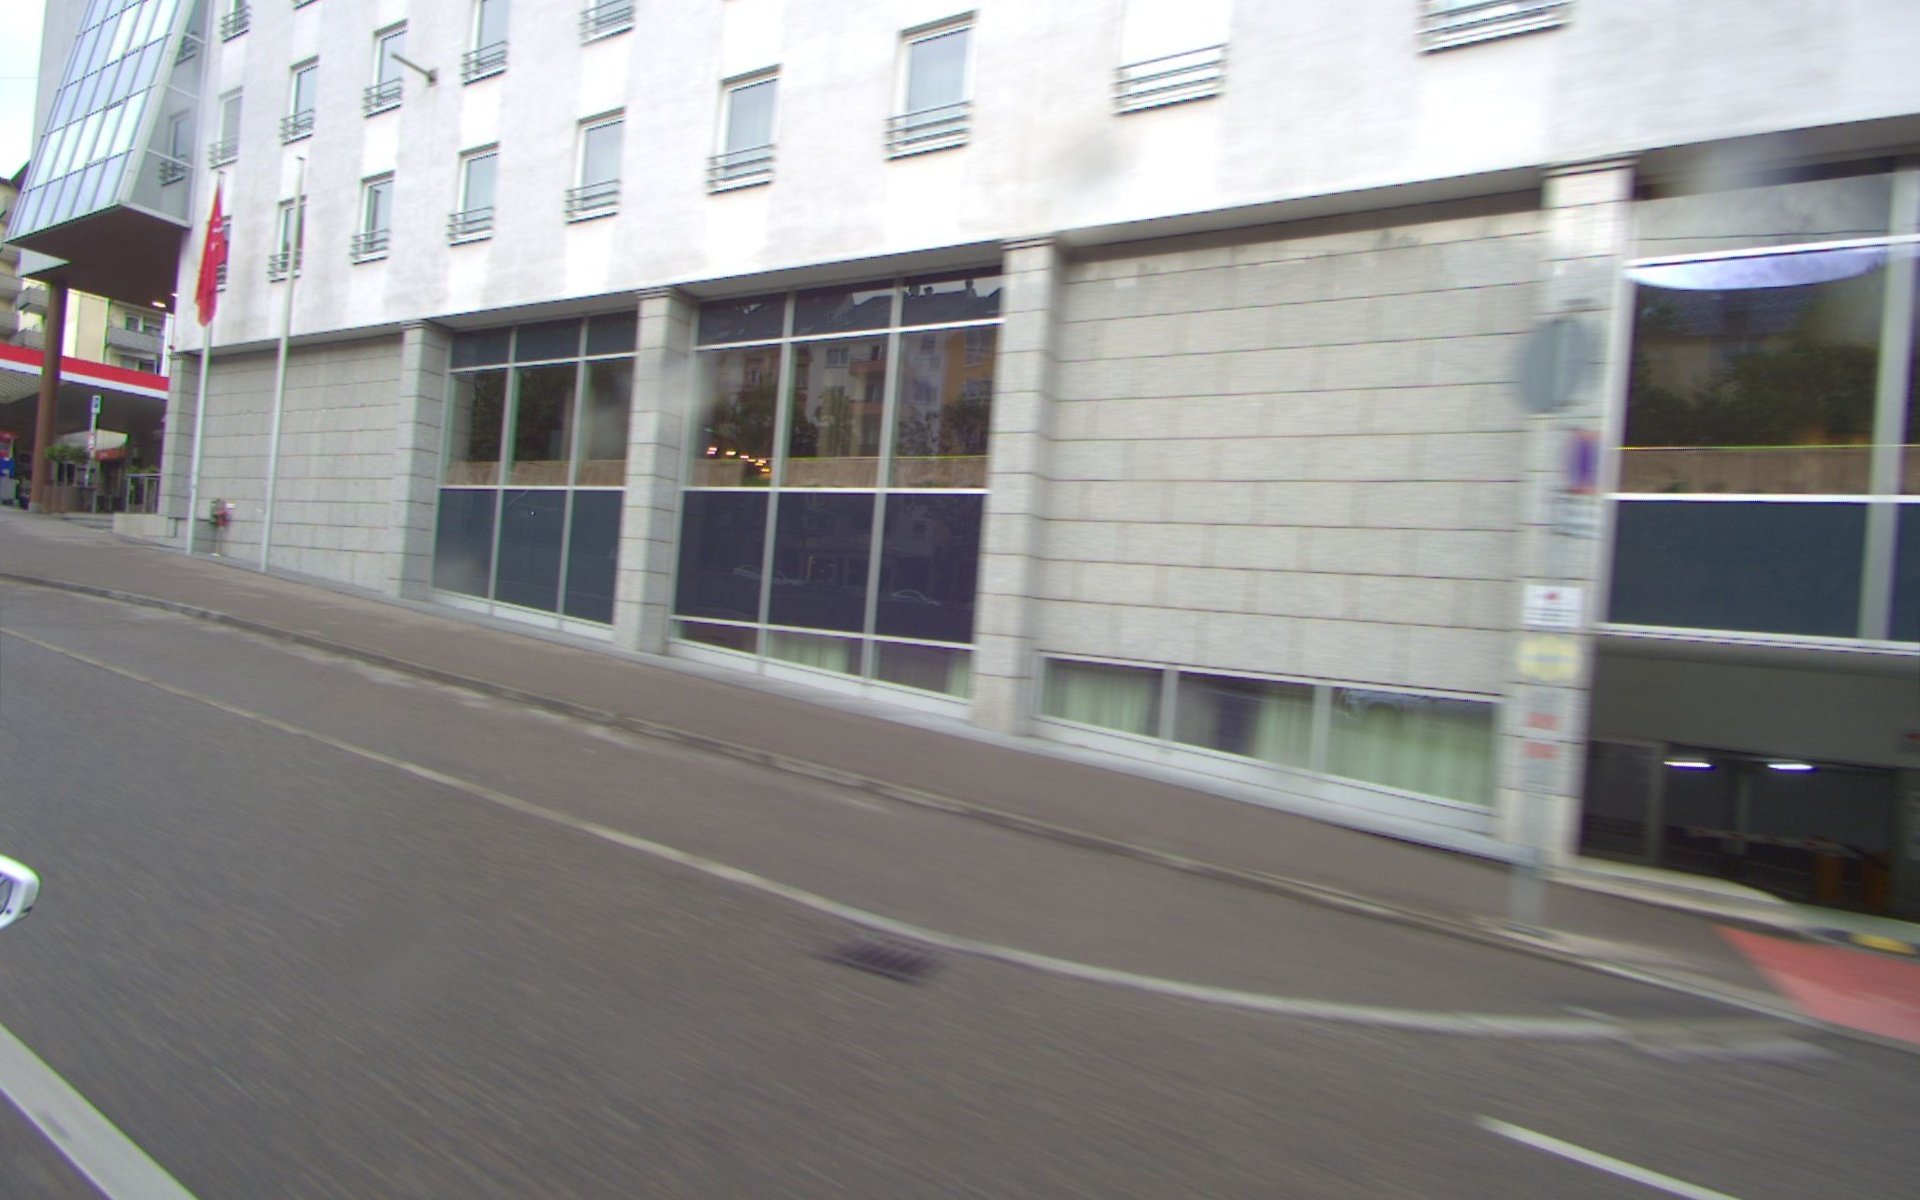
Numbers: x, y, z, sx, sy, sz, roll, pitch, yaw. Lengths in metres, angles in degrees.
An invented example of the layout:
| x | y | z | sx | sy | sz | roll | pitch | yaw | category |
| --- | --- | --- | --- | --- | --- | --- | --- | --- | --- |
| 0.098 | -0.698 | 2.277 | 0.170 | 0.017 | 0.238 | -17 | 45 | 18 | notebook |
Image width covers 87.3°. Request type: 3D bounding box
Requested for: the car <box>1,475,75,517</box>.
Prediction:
| x | y | z | sx | sy | sz | roll | pitch | yaw | category |
| --- | --- | --- | --- | --- | --- | --- | --- | --- | --- |
| -42.713 | -4.823 | 46.580 | 3.941 | 1.527 | 1.795 | 6 | -3 | 38 | car |
